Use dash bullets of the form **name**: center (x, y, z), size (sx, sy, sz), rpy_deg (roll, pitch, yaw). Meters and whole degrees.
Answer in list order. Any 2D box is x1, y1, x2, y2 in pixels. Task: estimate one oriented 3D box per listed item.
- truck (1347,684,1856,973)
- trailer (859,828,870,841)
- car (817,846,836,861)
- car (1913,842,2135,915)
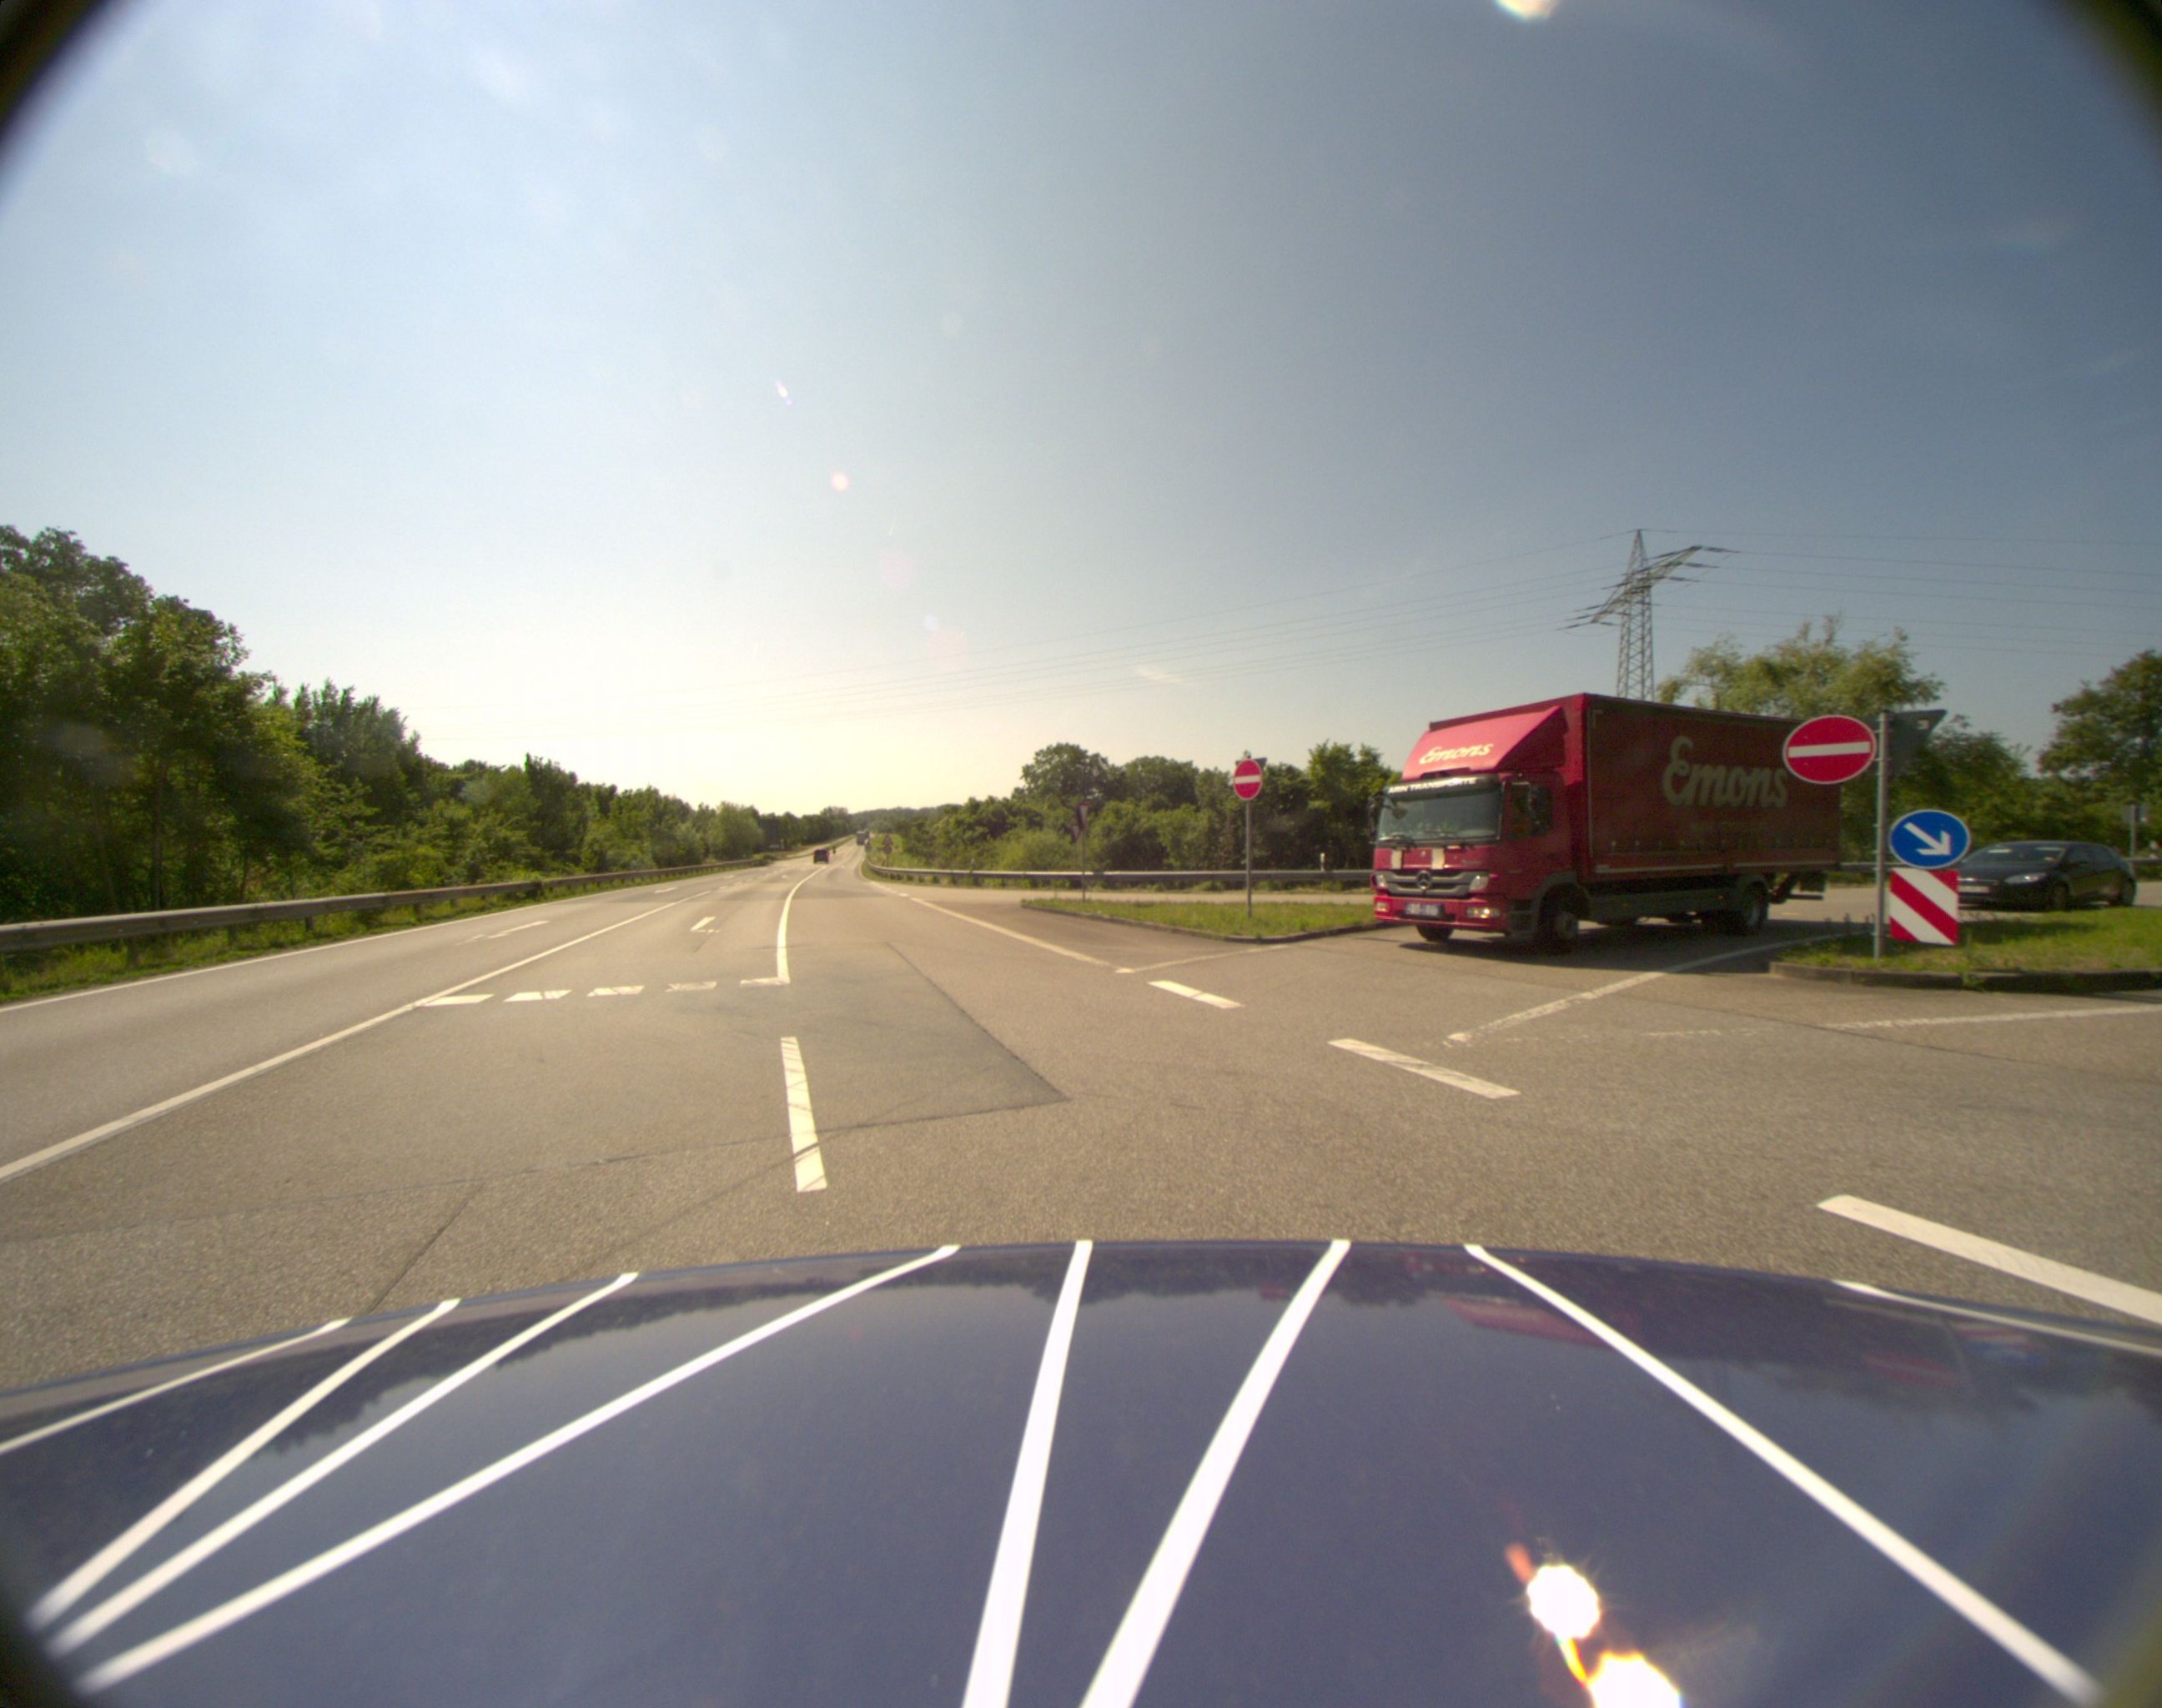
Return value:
- **truck**: center (8.982, -0.391, 12.756), size (9.274, 3.640, 2.685), rpy_deg (-1, 1, -25)
- **trailer**: center (-70.155, -6.266, 246.316), size (2.932, 3.988, 13.396), rpy_deg (-1, 1, -15)
- **car**: center (-33.645, -0.065, 100.493), size (2.001, 1.868, 4.987), rpy_deg (-1, 0, -15)
- **car**: center (20.474, 0.468, 16.515), size (4.003, 1.406, 1.785), rpy_deg (-1, 1, -19)
